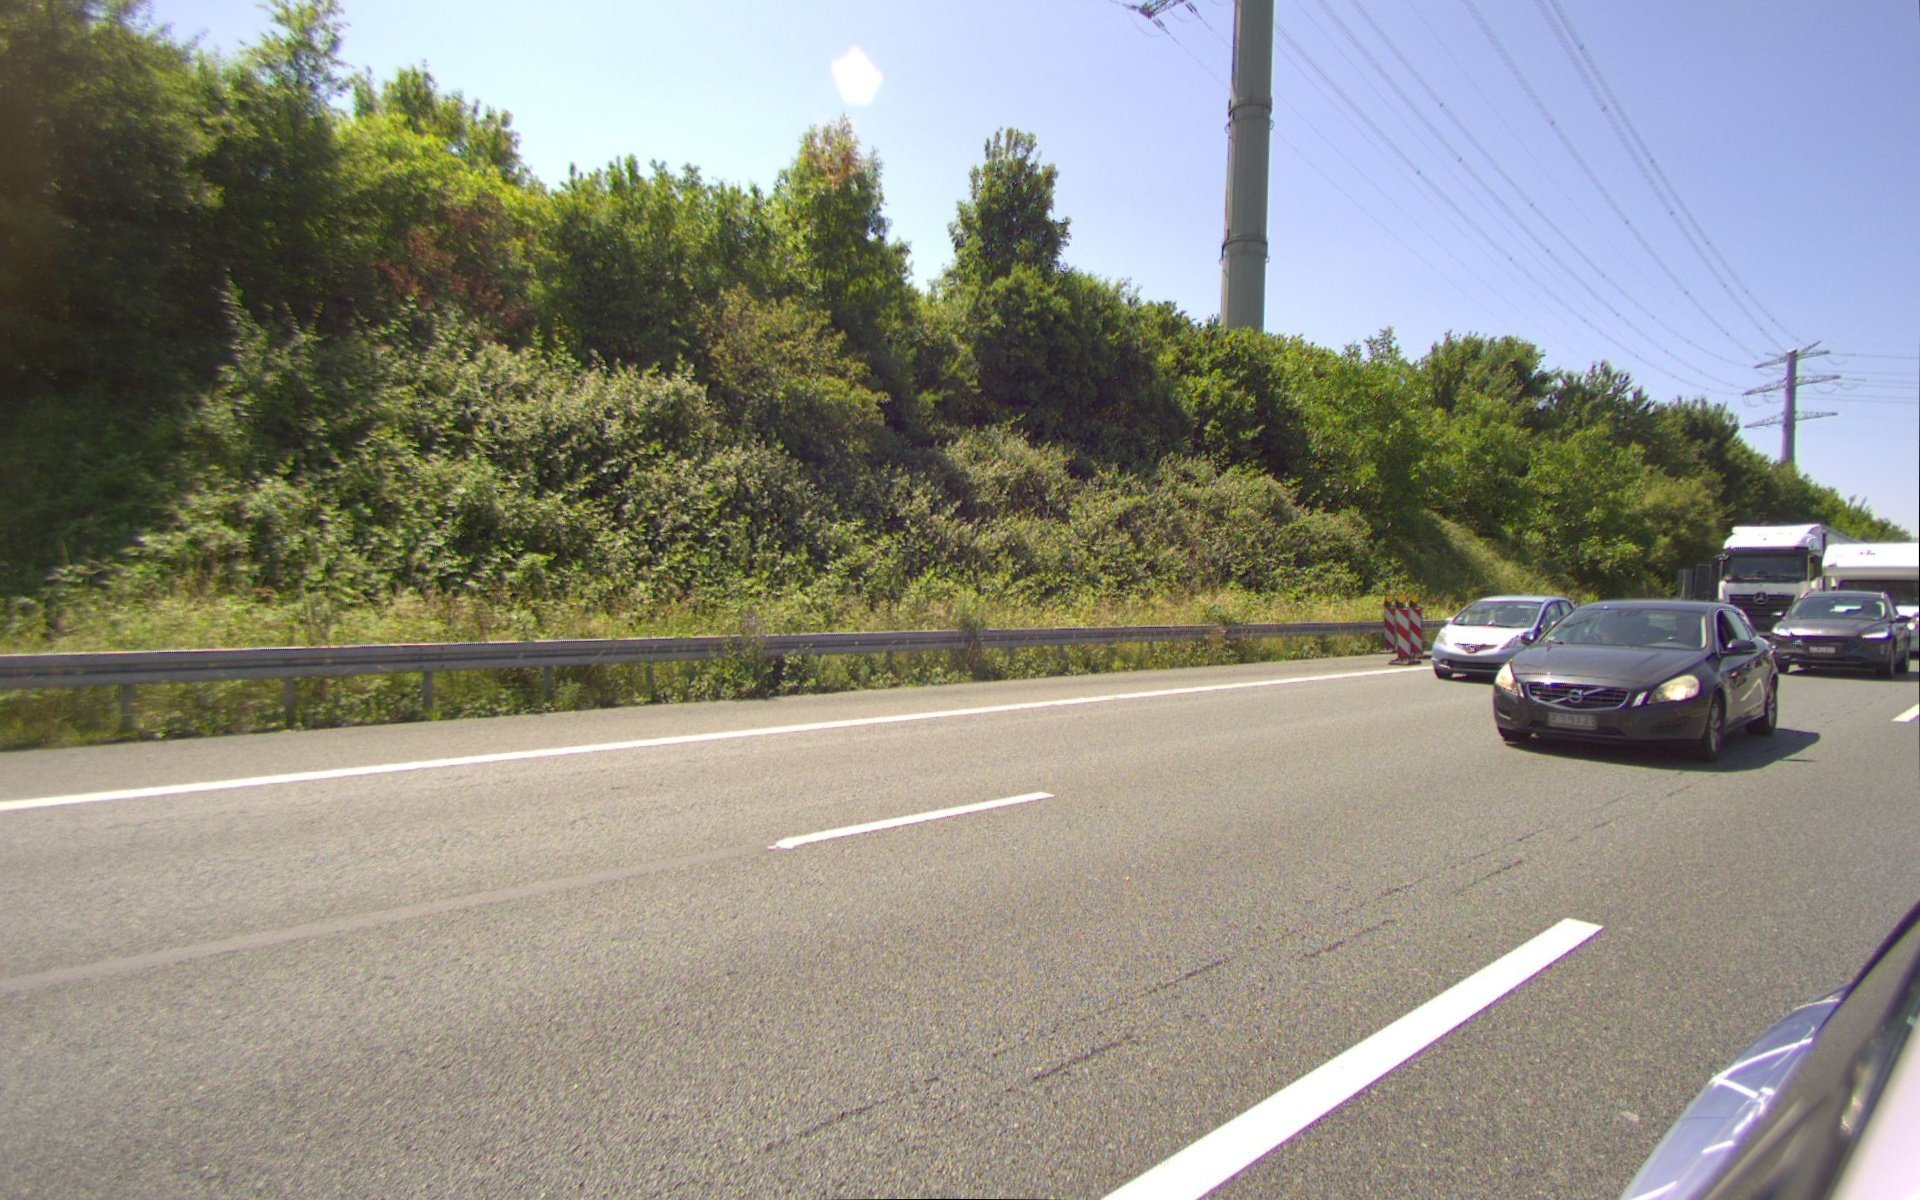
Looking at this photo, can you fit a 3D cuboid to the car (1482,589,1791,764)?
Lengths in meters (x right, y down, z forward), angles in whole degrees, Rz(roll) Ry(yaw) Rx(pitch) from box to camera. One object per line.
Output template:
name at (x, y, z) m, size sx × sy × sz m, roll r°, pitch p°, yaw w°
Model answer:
car at (7.135, 0.621, 10.501) m, size 4.160 × 1.455 × 1.798 m, roll 0°, pitch 0°, yaw -43°

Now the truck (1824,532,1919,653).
truck at (27.473, -0.214, 29.166) m, size 9.724 × 3.053 × 2.512 m, roll 0°, pitch 0°, yaw -41°

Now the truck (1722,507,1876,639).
truck at (30.918, -0.897, 37.020) m, size 11.460 × 4.204 × 2.653 m, roll 0°, pitch 0°, yaw -42°

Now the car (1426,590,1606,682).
car at (9.973, 0.557, 18.058) m, size 3.669 × 1.455 × 1.798 m, roll 0°, pitch 0°, yaw -43°

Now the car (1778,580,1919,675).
car at (18.142, 0.475, 20.494) m, size 4.310 × 1.724 × 1.889 m, roll 0°, pitch 0°, yaw -43°
